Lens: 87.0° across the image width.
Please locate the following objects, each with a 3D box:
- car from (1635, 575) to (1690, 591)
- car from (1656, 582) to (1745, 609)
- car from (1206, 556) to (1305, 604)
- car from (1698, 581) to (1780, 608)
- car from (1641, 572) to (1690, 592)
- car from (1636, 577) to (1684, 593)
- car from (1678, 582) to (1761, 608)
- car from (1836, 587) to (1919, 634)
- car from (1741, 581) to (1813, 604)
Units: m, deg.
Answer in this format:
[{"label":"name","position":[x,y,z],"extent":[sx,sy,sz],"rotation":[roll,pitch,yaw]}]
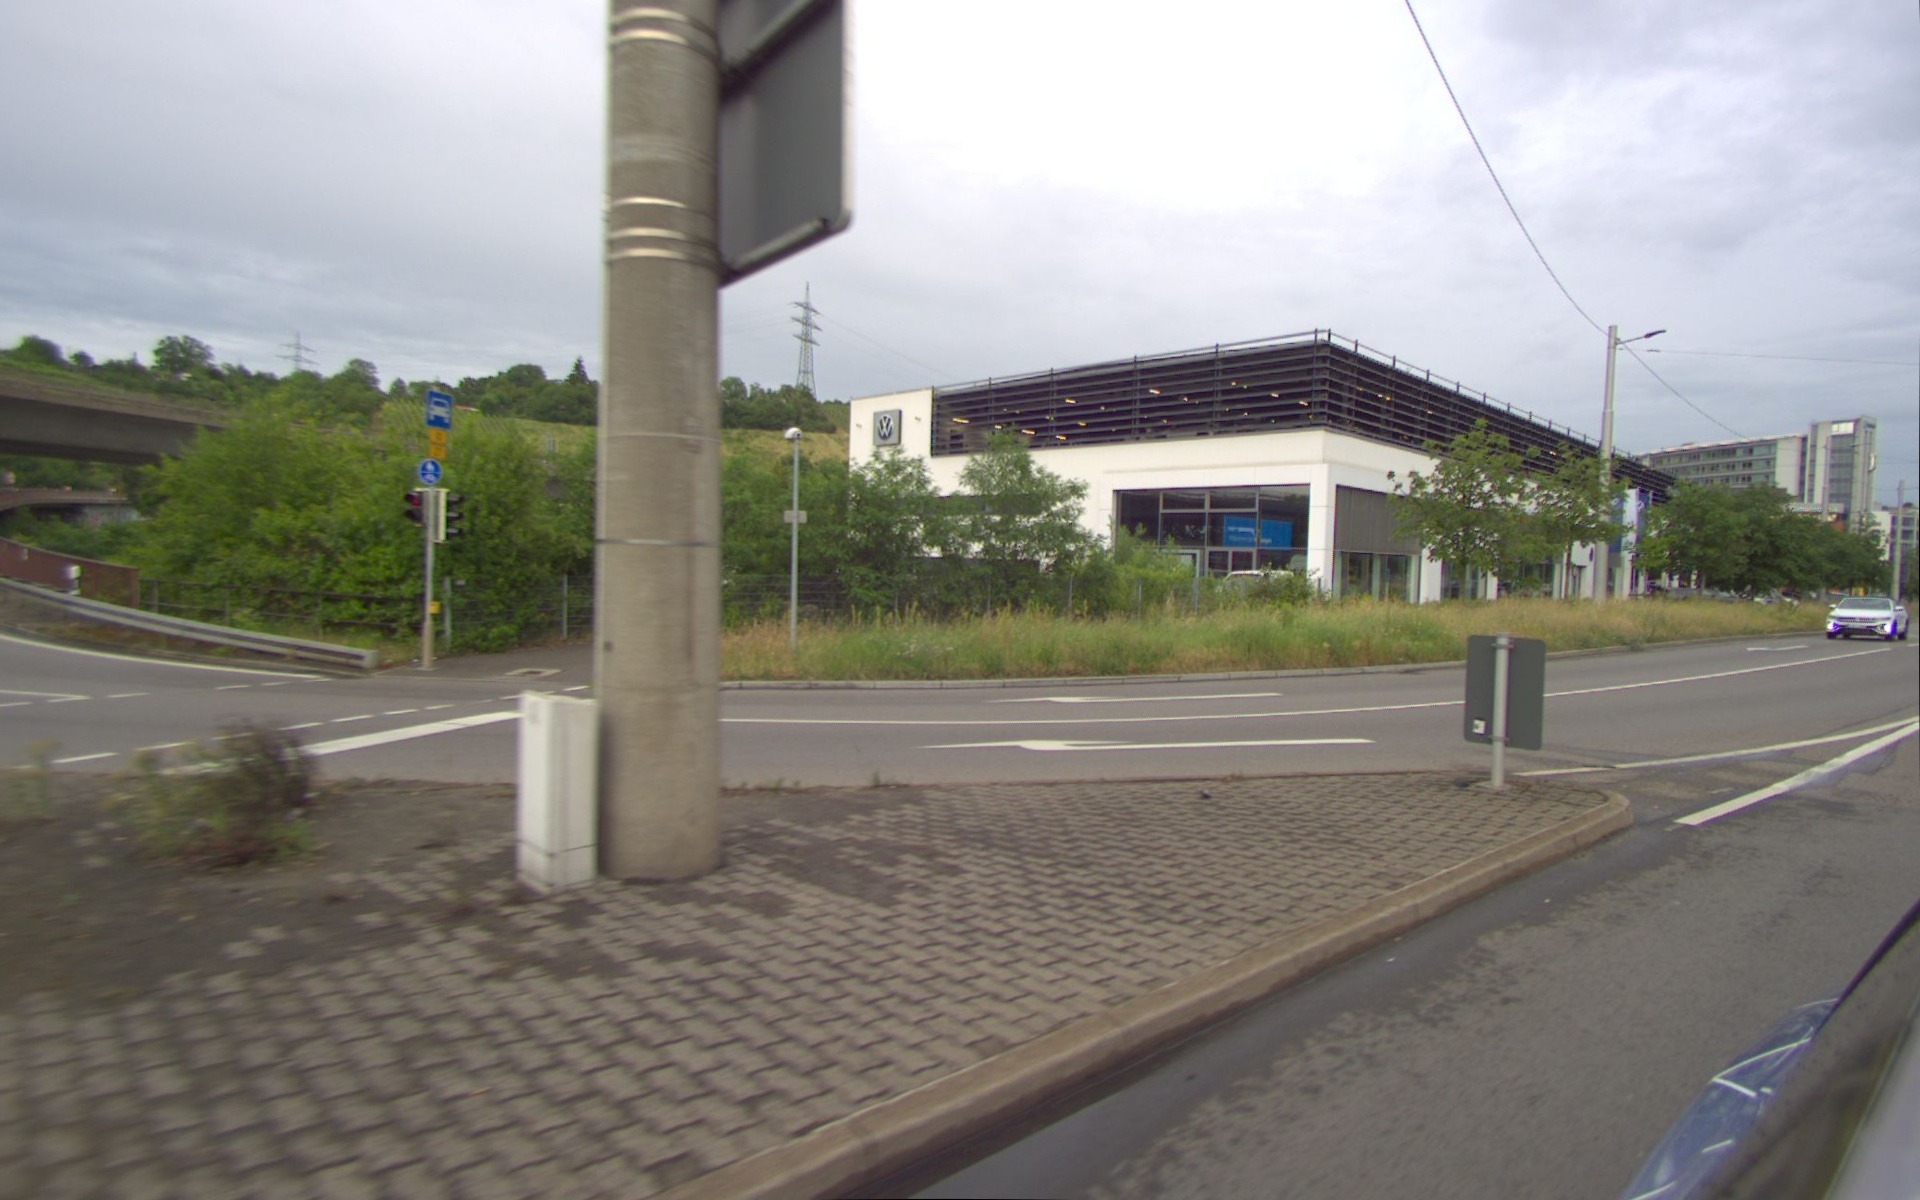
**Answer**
[{"label":"car","position":[65.980,-1.596,95.121],"extent":[1.755,1.527,3.993],"rotation":[0,0,-41]},{"label":"car","position":[51.850,-0.338,70.996],"extent":[4.563,1.587,1.844],"rotation":[3,4,17]},{"label":"car","position":[13.199,-0.877,45.039],"extent":[5.008,2.039,2.045],"rotation":[0,2,-45]},{"label":"car","position":[57.861,-0.413,75.237],"extent":[4.295,1.645,1.848],"rotation":[3,4,17]},{"label":"car","position":[77.348,-1.947,110.980],"extent":[1.913,2.000,4.031],"rotation":[0,3,-44]},{"label":"car","position":[75.478,-1.661,109.148],"extent":[1.874,1.555,3.991],"rotation":[0,3,-44]},{"label":"car","position":[54.959,-0.369,73.296],"extent":[4.314,1.587,1.792],"rotation":[3,4,15]},{"label":"car","position":[32.173,0.341,35.428],"extent":[3.772,1.512,1.876],"rotation":[0,2,-44]},{"label":"car","position":[66.306,-0.623,82.177],"extent":[4.034,1.587,1.795],"rotation":[3,4,10]}]
